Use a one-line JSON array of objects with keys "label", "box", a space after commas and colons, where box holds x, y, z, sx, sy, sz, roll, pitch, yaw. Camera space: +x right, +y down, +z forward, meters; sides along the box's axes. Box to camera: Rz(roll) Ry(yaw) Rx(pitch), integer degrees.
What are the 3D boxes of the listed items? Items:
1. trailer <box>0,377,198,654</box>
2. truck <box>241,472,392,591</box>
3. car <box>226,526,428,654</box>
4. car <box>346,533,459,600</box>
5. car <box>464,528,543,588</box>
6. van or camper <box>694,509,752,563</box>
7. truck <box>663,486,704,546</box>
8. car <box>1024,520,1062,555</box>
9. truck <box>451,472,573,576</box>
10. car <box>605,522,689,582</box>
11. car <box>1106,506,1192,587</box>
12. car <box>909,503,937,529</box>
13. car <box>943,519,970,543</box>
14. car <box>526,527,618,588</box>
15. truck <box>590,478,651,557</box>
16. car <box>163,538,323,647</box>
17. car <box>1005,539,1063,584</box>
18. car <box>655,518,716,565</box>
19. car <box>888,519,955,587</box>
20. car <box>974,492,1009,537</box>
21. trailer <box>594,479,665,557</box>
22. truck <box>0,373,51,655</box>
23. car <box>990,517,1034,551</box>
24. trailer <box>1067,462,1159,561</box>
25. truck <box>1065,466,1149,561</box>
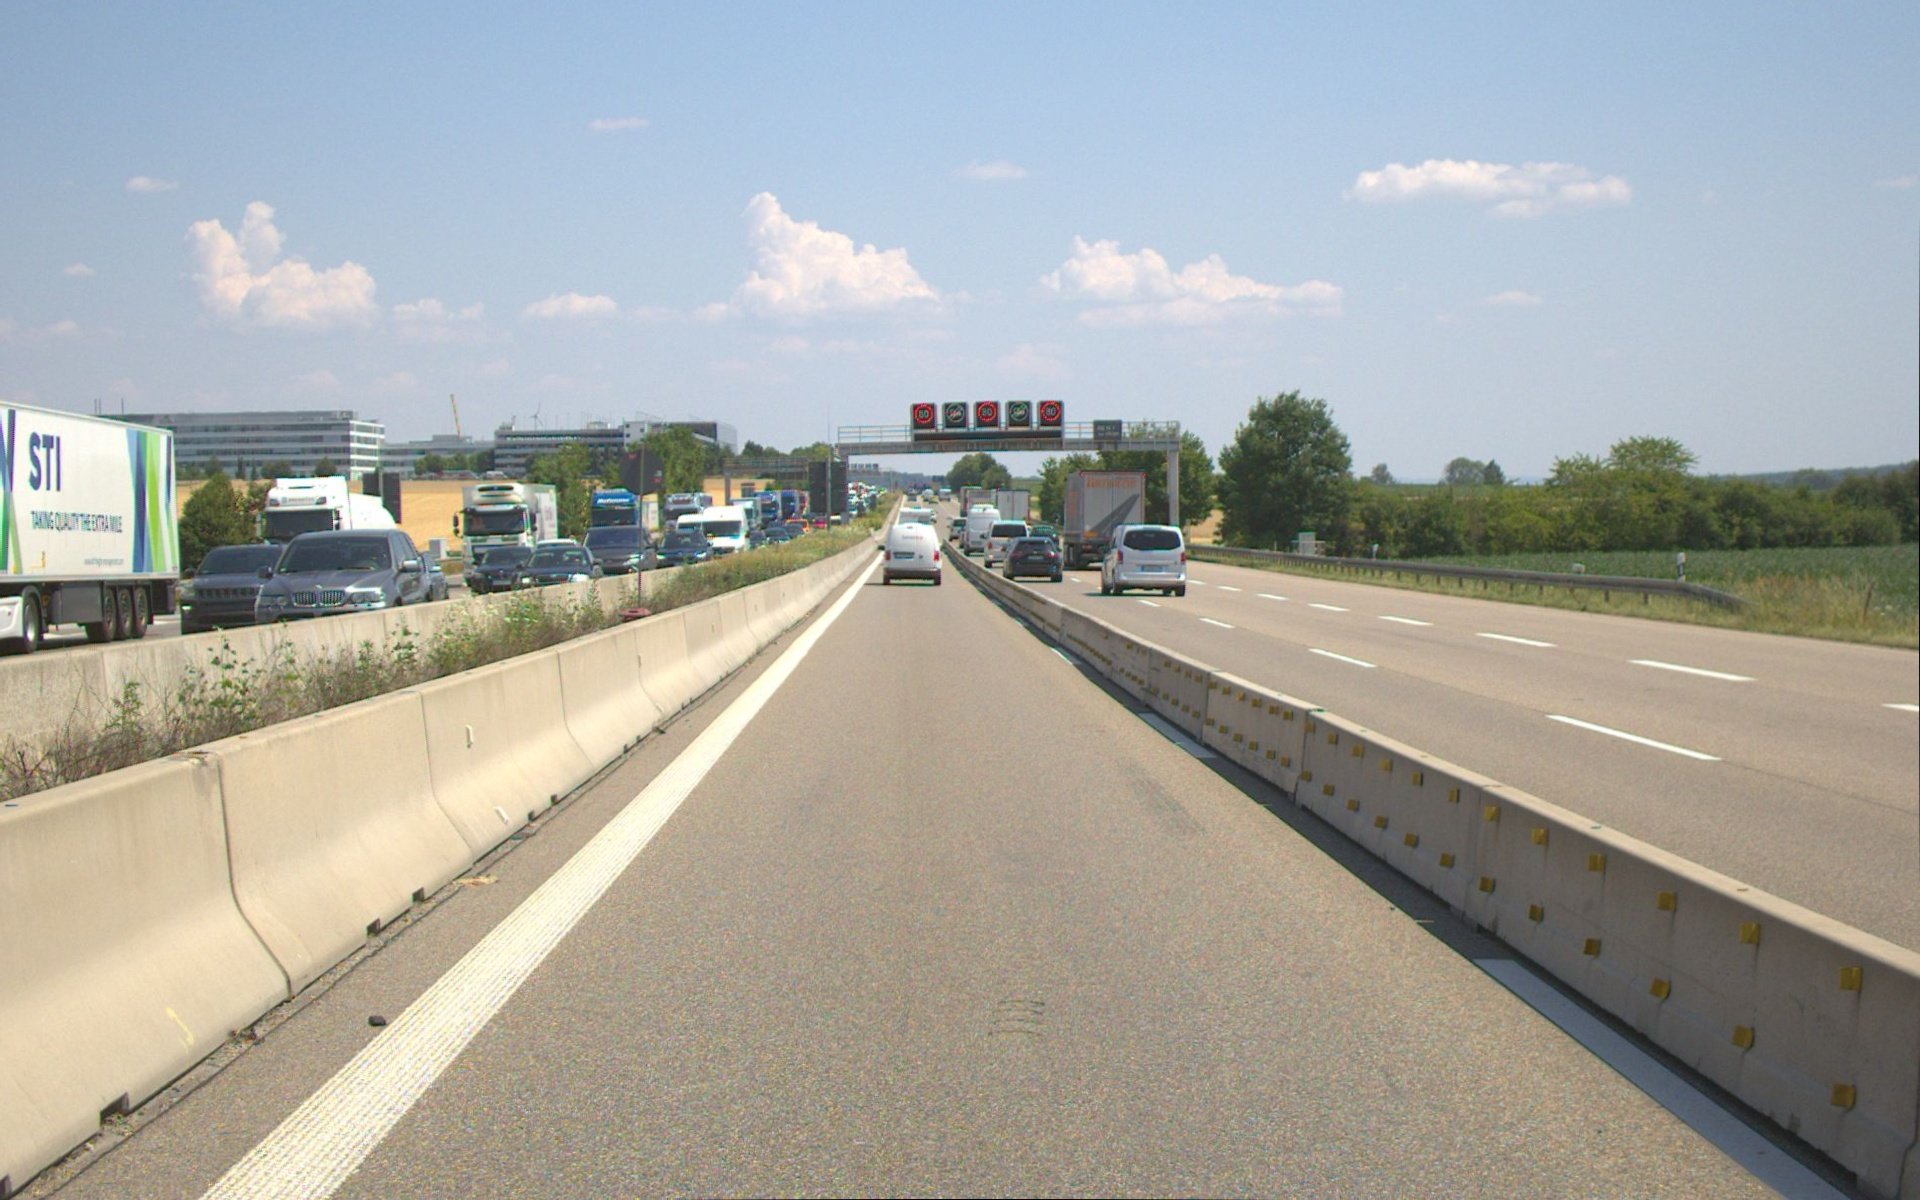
[{"label": "trailer", "box": [-16.368, -1.423, 60.815, 2.892, 4.360, 12.994, -2, 1, -1]}, {"label": "truck", "box": [-22.072, -2.382, 118.691, 2.899, 3.763, 13.290, -3, 1, -2]}, {"label": "car", "box": [-8.425, -0.165, 46.145, 1.890, 1.611, 4.821, 0, 1, -1]}, {"label": "car", "box": [-12.805, -0.790, 79.233, 1.846, 1.477, 4.922, 0, 1, -1]}, {"label": "car", "box": [-12.948, -1.214, 97.638, 1.655, 1.646, 4.665, 0, 1, -1]}, {"label": "van or camper", "box": [-9.994, -2.725, 145.307, 2.035, 2.214, 7.209, 1, 1, -1]}, {"label": "truck", "box": [-19.063, -5.786, 237.407, 2.411, 4.072, 4.660, -1, 1, 0]}, {"label": "car", "box": [4.723, -3.548, 195.581, 1.993, 2.007, 4.000, 0, 1, -1]}, {"label": "truck", "box": [-16.821, -2.876, 130.058, 2.795, 3.597, 13.290, -3, 1, 0]}, {"label": "car", "box": [-8.451, -1.325, 93.249, 1.843, 1.564, 5.345, 0, 1, -1]}, {"label": "car", "box": [4.984, -1.419, 91.136, 1.993, 2.112, 4.000, 0, 1, -1]}, {"label": "car", "box": [-2.687, -6.035, 247.427, 1.993, 1.829, 4.000, 0, 1, -1]}, {"label": "car", "box": [-0.271, -5.249, 260.887, 1.993, 1.829, 4.000, 0, 1, -1]}, {"label": "car", "box": [-8.863, -0.991, 78.758, 1.655, 1.347, 4.267, 0, 1, -1]}, {"label": "truck", "box": [-18.137, -4.407, 184.120, 2.809, 4.114, 4.842, -1, 1, -1]}, {"label": "car", "box": [-12.327, -0.159, 59.358, 1.993, 1.809, 4.000, 0, 1, -1]}, {"label": "car", "box": [2.396, -1.248, 112.042, 1.773, 1.442, 4.000, 0, 1, -1]}, {"label": "car", "box": [-9.412, -2.020, 118.243, 1.782, 1.584, 4.541, 0, 1, -1]}, {"label": "car", "box": [-1.167, -1.428, 103.865, 1.993, 2.007, 4.000, 0, 1, -1]}, {"label": "car", "box": [1.709, -4.661, 187.577, 1.773, 2.384, 4.000, 0, 1, -1]}, {"label": "trailer", "box": [-18.277, -4.566, 191.111, 2.809, 4.114, 14.132, -1, 2, -1]}, {"label": "truck", "box": [-16.249, -1.292, 53.336, 2.870, 4.360, 4.903, -2, 1, -1]}, {"label": "car", "box": [2.214, -2.809, 146.633, 1.773, 1.442, 4.000, 0, 1, -1]}, {"label": "trailer", "box": [6.250, -3.591, 142.068, 3.277, 3.953, 9.113, 0, 1, -1]}, {"label": "truck", "box": [6.210, -3.643, 146.043, 3.271, 3.953, 4.913, 0, 1, -1]}]
